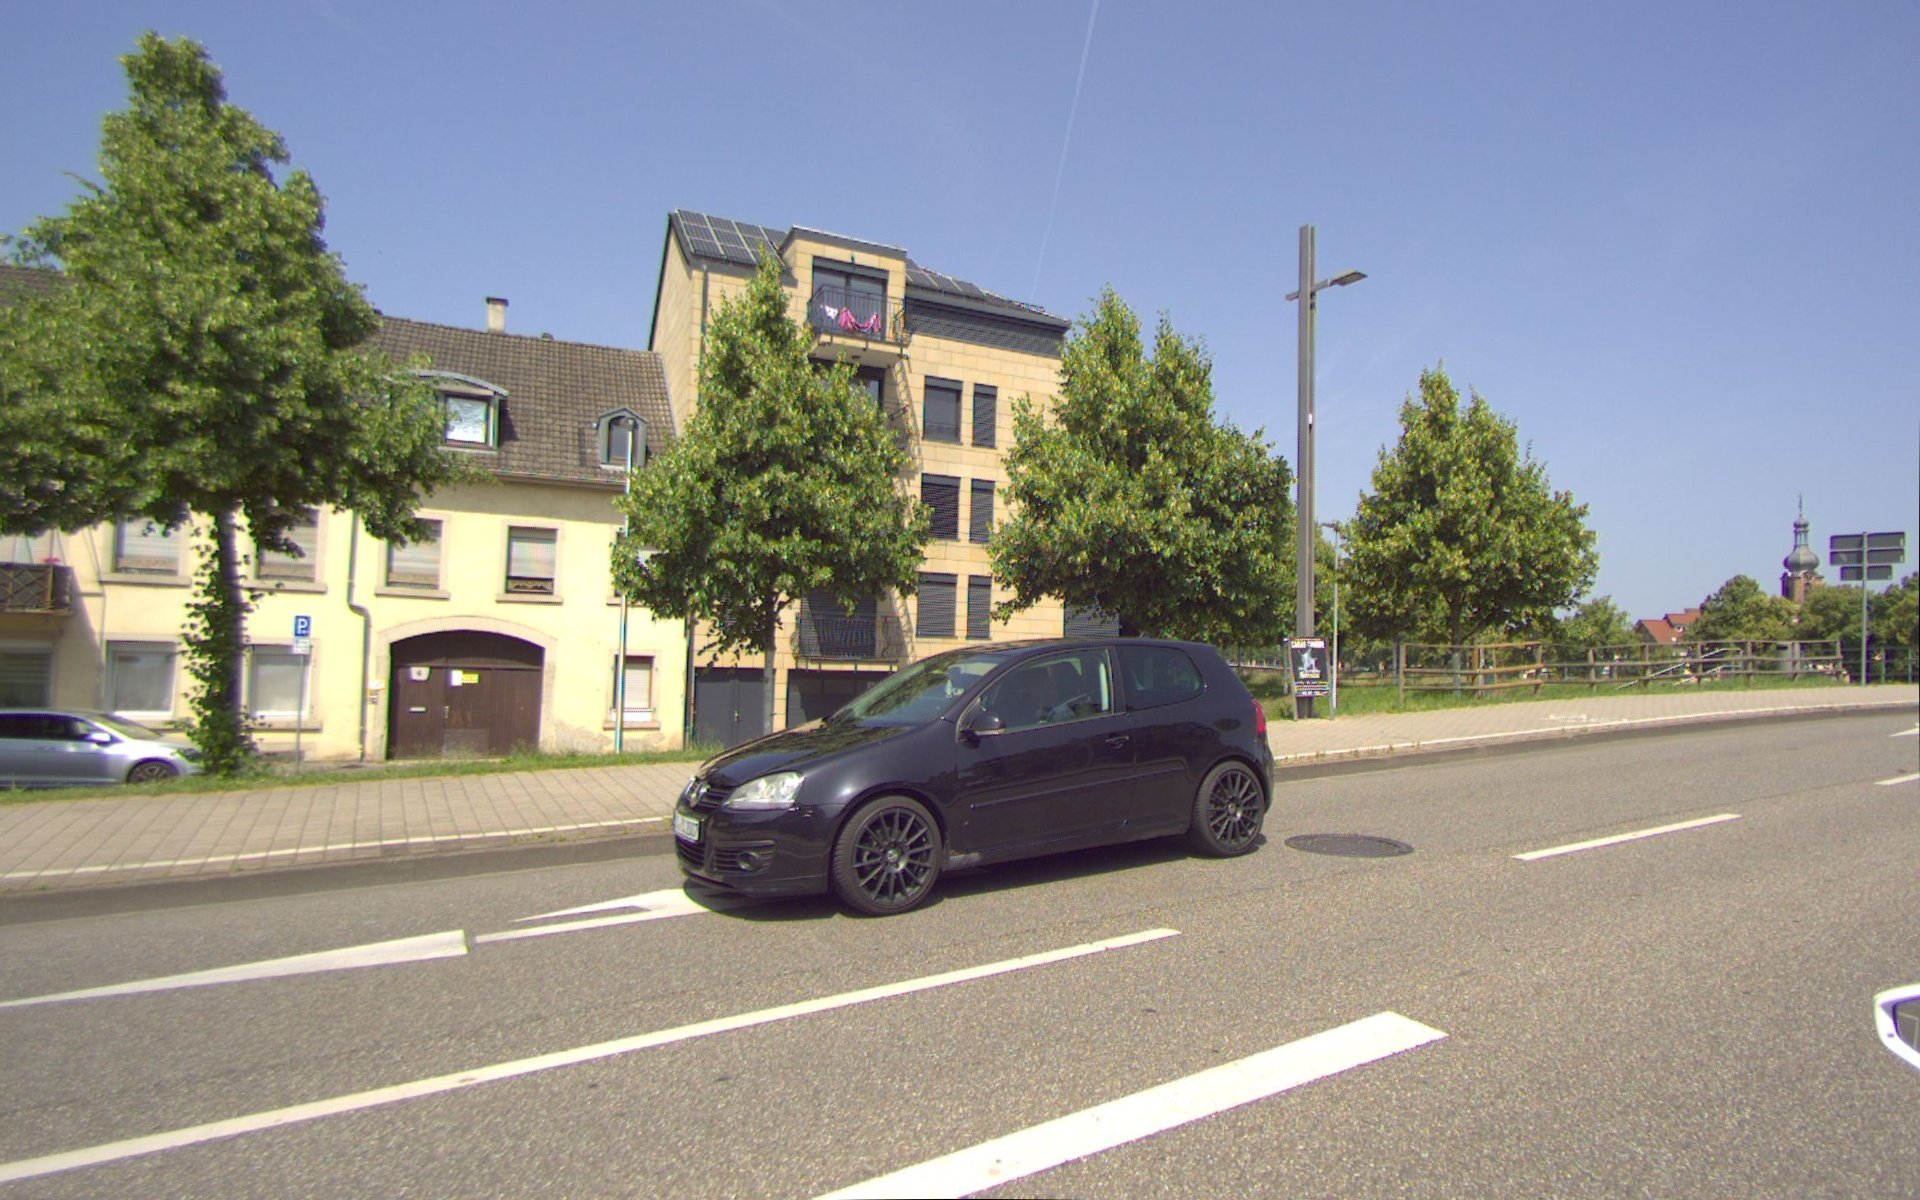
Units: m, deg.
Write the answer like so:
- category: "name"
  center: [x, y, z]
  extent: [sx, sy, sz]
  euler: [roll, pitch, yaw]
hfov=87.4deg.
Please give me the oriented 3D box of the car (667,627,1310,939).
- category: "car"
  center: [0.278, 0.961, 6.665]
  extent: [3.985, 1.504, 1.706]
  euler: [1, -3, -31]

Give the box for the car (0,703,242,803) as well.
- category: "car"
  center: [-14.871, 2.516, 16.756]
  extent: [4.368, 1.450, 1.772]
  euler: [2, -4, -25]
